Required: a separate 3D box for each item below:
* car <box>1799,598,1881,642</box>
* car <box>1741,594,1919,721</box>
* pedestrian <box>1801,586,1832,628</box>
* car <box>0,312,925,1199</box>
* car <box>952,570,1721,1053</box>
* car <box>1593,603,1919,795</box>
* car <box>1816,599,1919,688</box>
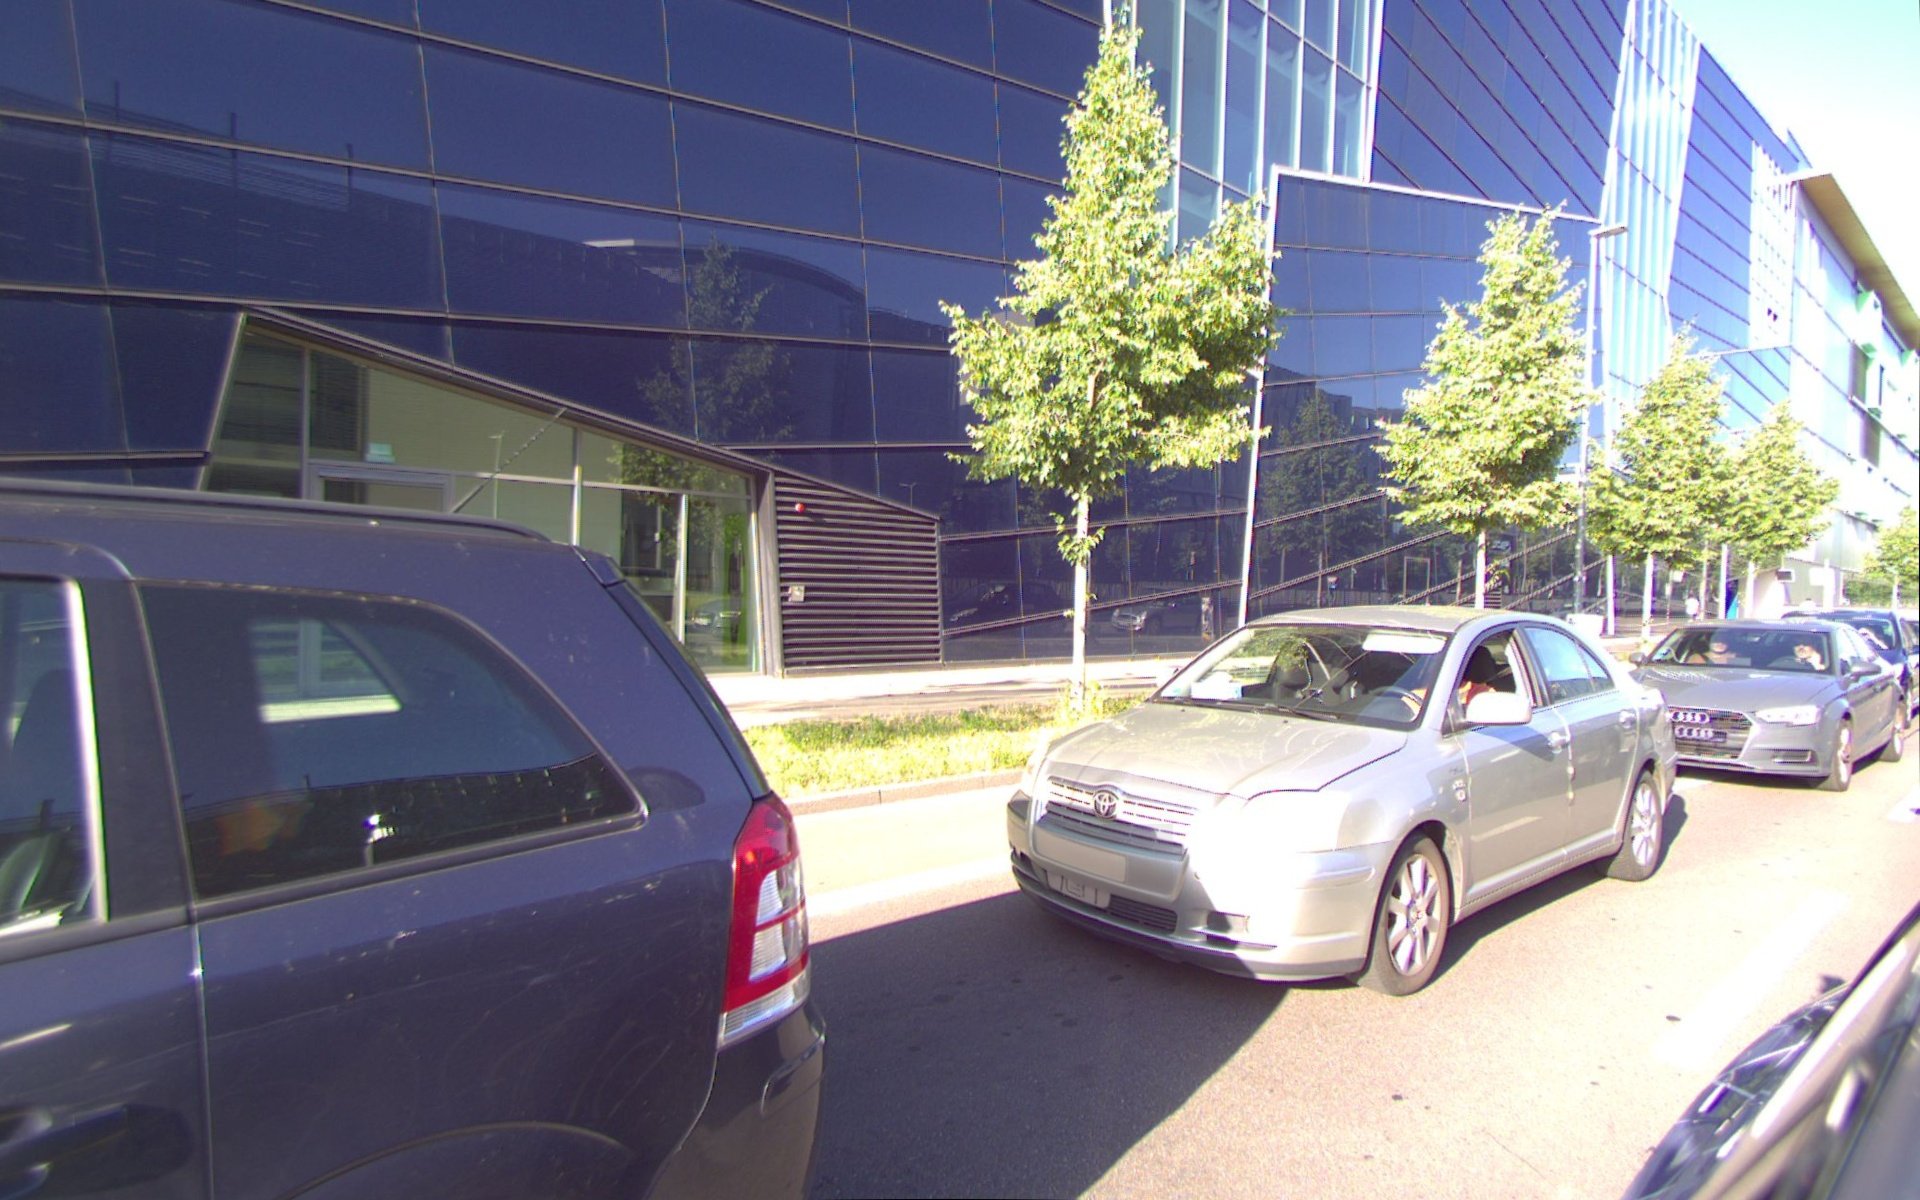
[{"bbox_3d":[34.203,0.740,39.292,4.633,1.516,1.739,1,3,-41],"label":"car"},{"bbox_3d":[12.415,0.699,14.069,3.902,1.497,1.752,1,0,-41],"label":"car"},{"bbox_3d":[38.826,0.306,45.872,0.889,1.846,0.829,1,4,-41],"label":"pedestrian"},{"bbox_3d":[-2.196,0.575,1.075,4.187,1.717,1.748,0,0,-42],"label":"car"},{"bbox_3d":[2.269,0.637,5.304,4.546,1.500,1.750,0,2,-40],"label":"car"},{"bbox_3d":[7.841,0.758,9.706,4.187,1.409,1.750,0,1,-39],"label":"car"},{"bbox_3d":[17.228,0.753,18.654,3.358,1.497,1.752,1,0,-41],"label":"car"}]
